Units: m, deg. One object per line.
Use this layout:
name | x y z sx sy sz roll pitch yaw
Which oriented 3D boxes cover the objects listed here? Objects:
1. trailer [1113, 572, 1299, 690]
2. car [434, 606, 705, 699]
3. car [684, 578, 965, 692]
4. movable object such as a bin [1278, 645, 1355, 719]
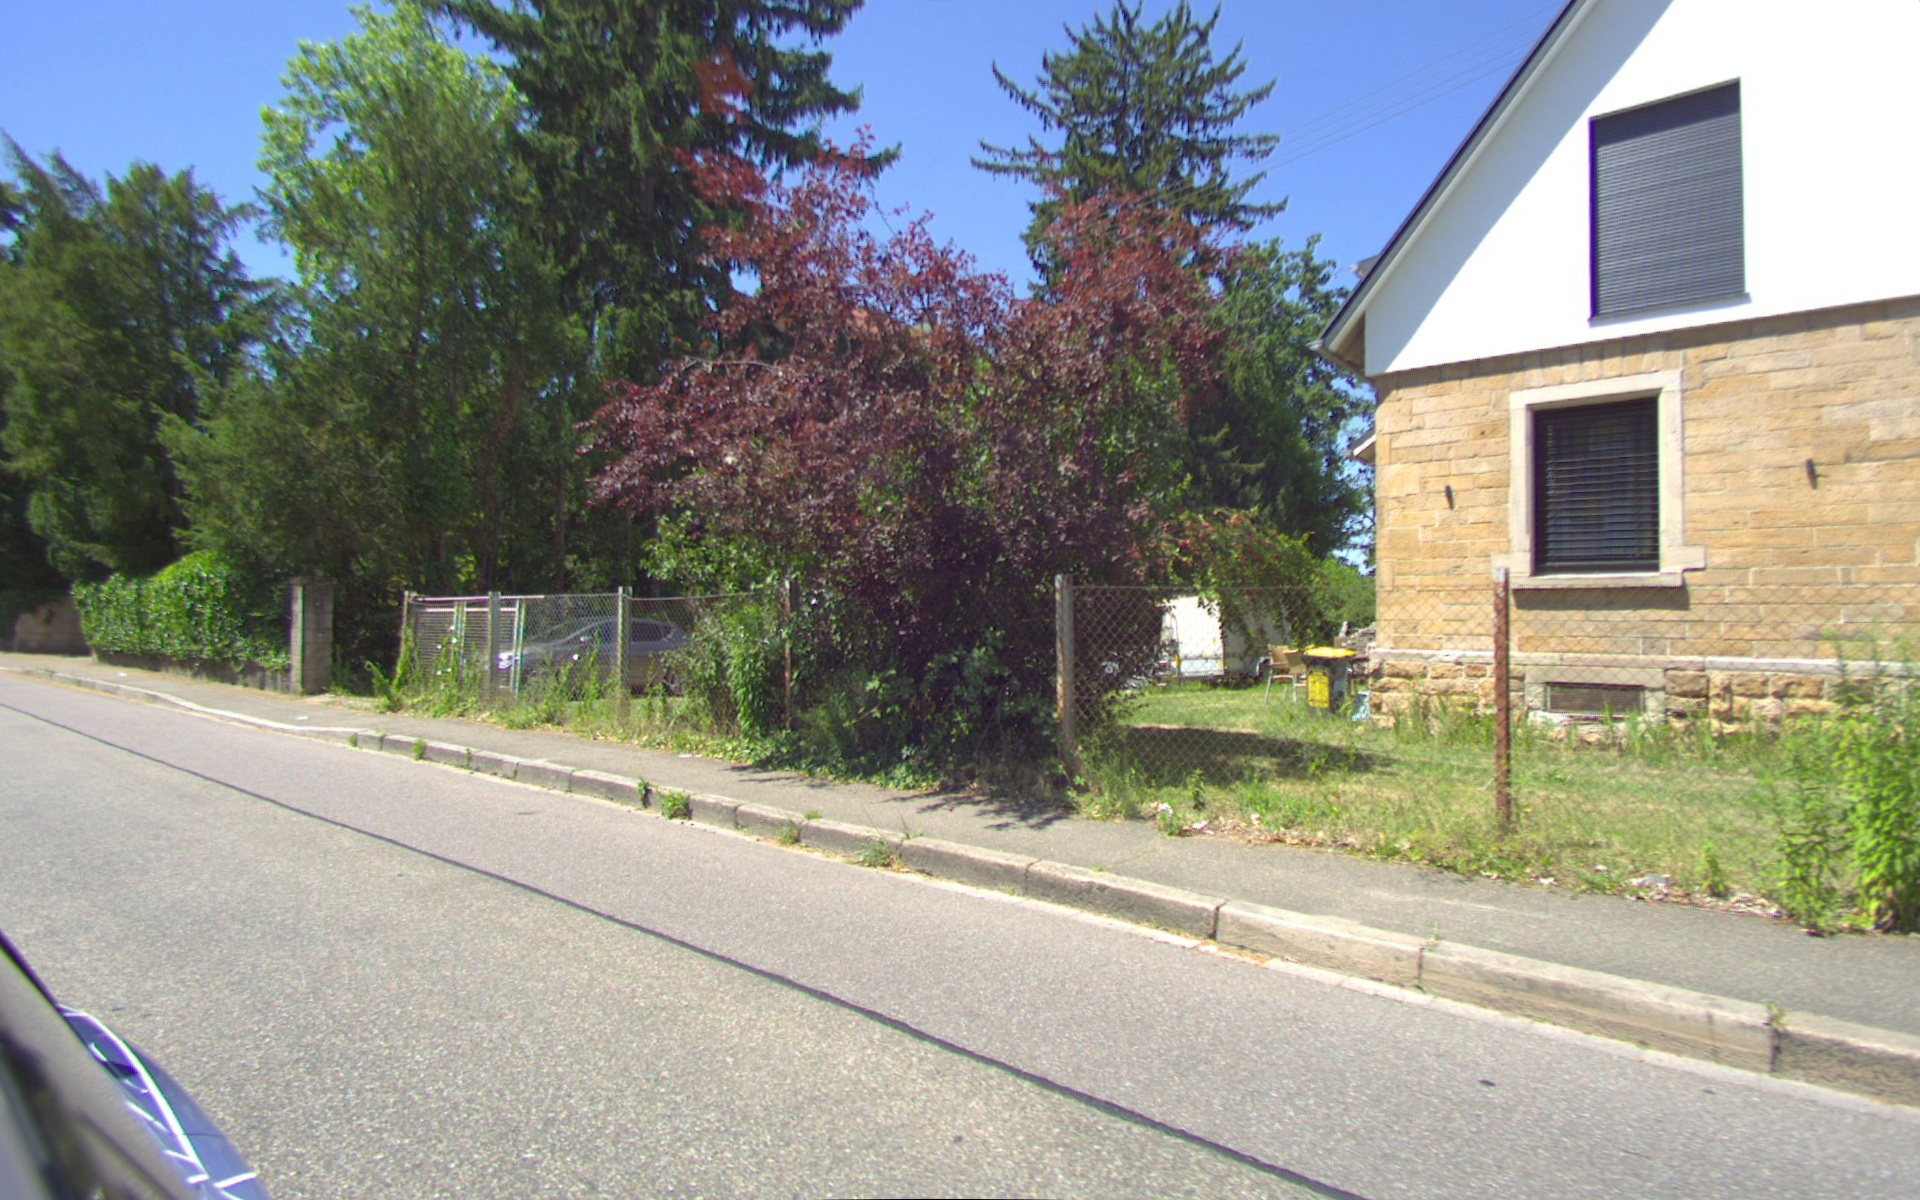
trailer | 5.102 0.630 20.780 3.824 2.188 1.826 2 -2 -41
car | -6.726 0.928 17.721 1.969 1.435 3.943 -1 -4 43
car | -2.778 0.858 22.870 2.397 2.188 6.601 -1 -3 35
movable object such as a bin | 4.365 0.989 12.389 0.723 0.834 0.560 -1 0 43
